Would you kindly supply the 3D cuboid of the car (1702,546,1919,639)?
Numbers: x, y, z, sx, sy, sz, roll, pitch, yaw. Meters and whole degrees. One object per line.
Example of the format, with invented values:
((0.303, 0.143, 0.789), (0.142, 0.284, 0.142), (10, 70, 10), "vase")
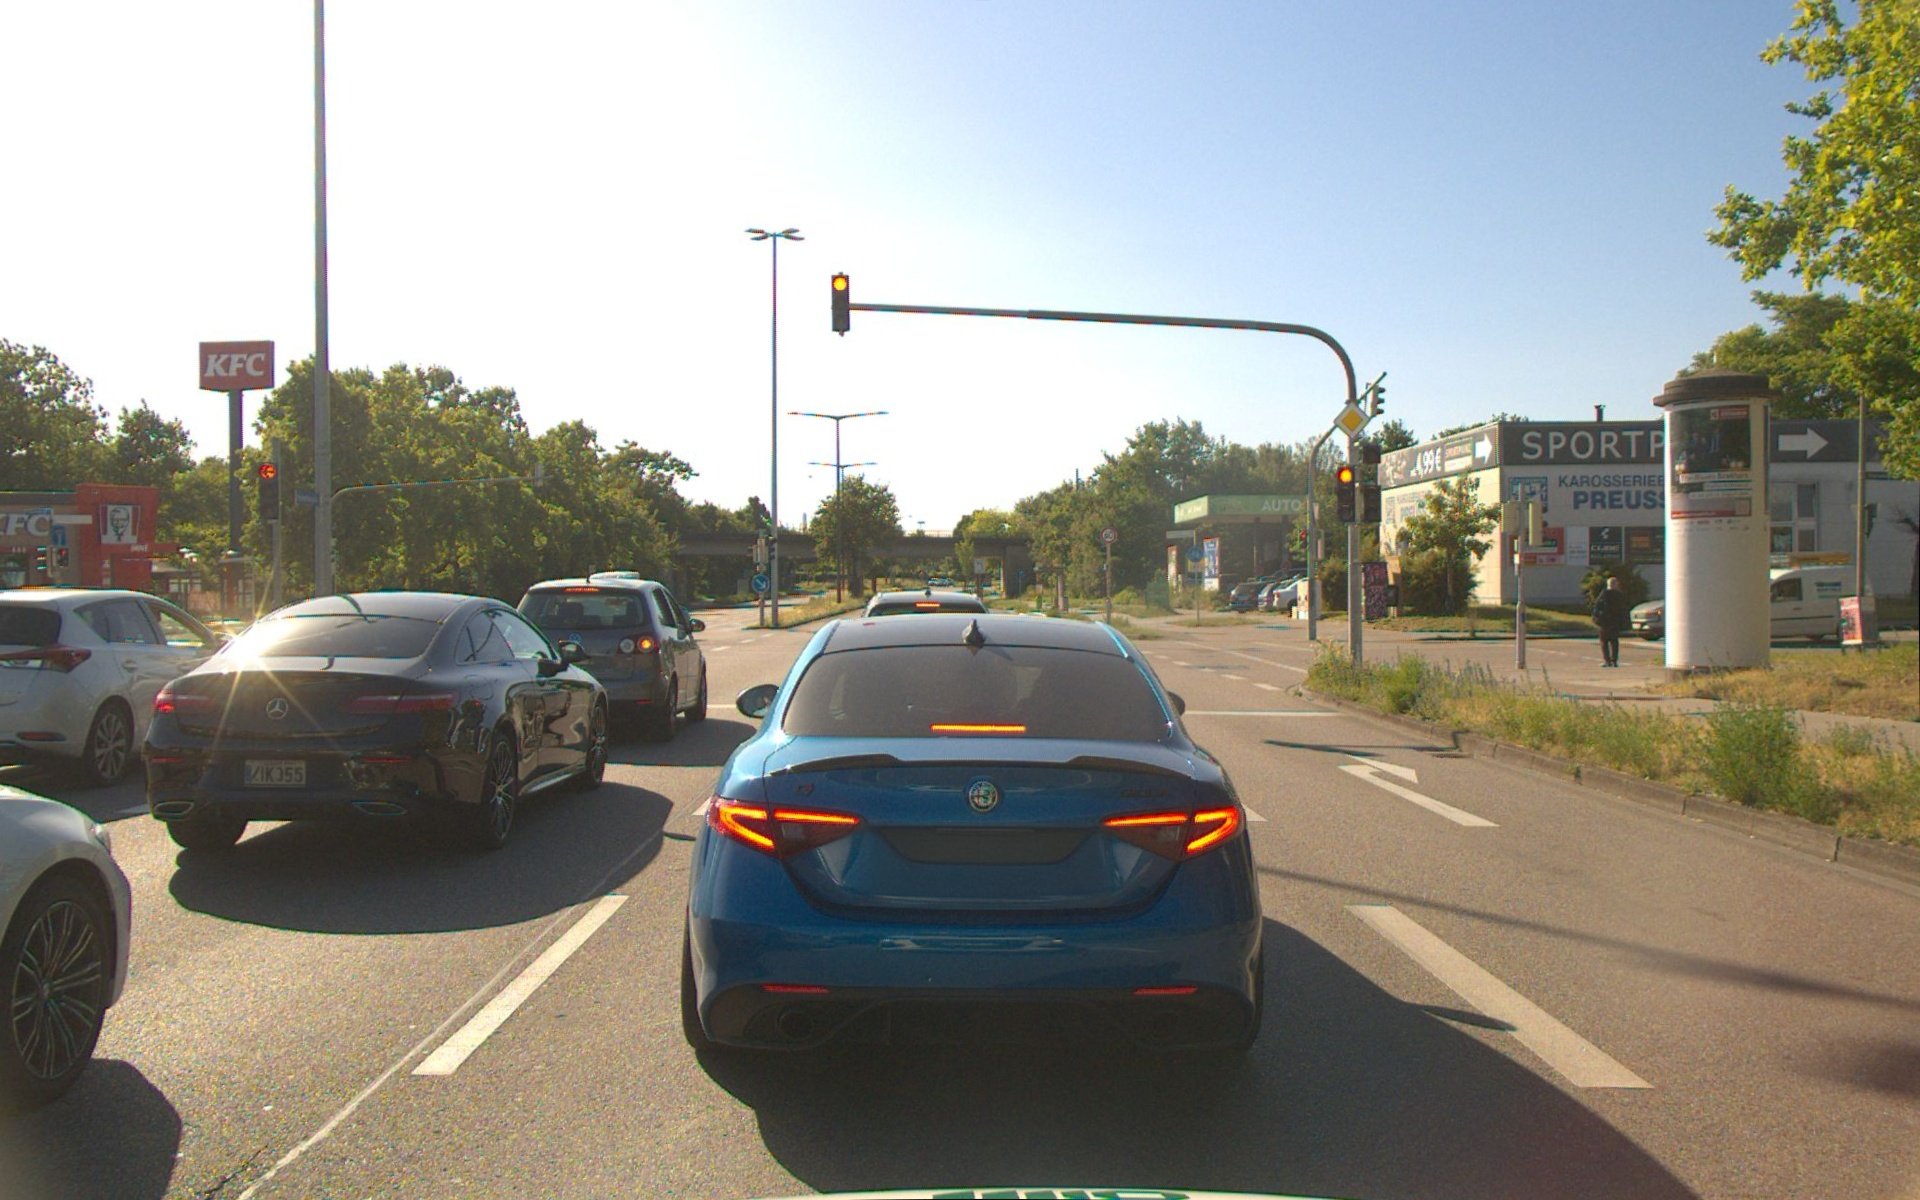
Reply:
((20.601, -0.187, 40.144), (4.318, 2.183, 1.998), (0, 0, -4), "car")

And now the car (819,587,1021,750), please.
((-0.393, 0.611, 17.039), (1.828, 1.475, 3.931), (0, 0, -1), "car")

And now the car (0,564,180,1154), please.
((-3.349, 0.685, 3.080), (1.732, 1.535, 4.460), (0, 0, -1), "car")

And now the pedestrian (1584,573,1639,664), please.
((12.698, 0.356, 32.242), (0.805, 1.752, 0.854), (0, 0, 6), "pedestrian")

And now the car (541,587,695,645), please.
((-9.884, 0.428, 47.858), (4.003, 1.622, 1.803), (0, 1, -35), "car")

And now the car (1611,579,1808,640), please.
((19.758, 0.227, 43.713), (4.318, 1.580, 1.998), (0, 0, -4), "car")

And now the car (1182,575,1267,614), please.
((11.875, -0.260, 74.316), (3.428, 1.736, 1.688), (0, 0, -17), "car")

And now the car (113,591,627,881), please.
((-3.414, 0.672, 10.553), (1.732, 1.439, 4.460), (0, 0, -1), "car")

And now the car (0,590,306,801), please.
((-7.151, 0.649, 13.630), (1.819, 1.454, 4.403), (0, 0, -1), "car")

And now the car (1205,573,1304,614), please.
((12.670, -0.266, 71.137), (3.928, 1.736, 1.686), (0, 0, -20), "car")

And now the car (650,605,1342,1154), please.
((0.072, 0.749, 6.355), (1.828, 1.409, 3.931), (0, 0, -1), "car")

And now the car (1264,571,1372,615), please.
((14.343, -0.276, 66.307), (3.923, 1.736, 1.687), (0, 0, -17), "car")

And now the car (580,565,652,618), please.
((-16.727, -0.438, 80.827), (2.382, 2.469, 5.830), (0, 1, -1), "car")

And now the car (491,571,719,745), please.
((-3.609, 0.526, 17.460), (1.615, 1.626, 3.931), (0, 0, -1), "car")
